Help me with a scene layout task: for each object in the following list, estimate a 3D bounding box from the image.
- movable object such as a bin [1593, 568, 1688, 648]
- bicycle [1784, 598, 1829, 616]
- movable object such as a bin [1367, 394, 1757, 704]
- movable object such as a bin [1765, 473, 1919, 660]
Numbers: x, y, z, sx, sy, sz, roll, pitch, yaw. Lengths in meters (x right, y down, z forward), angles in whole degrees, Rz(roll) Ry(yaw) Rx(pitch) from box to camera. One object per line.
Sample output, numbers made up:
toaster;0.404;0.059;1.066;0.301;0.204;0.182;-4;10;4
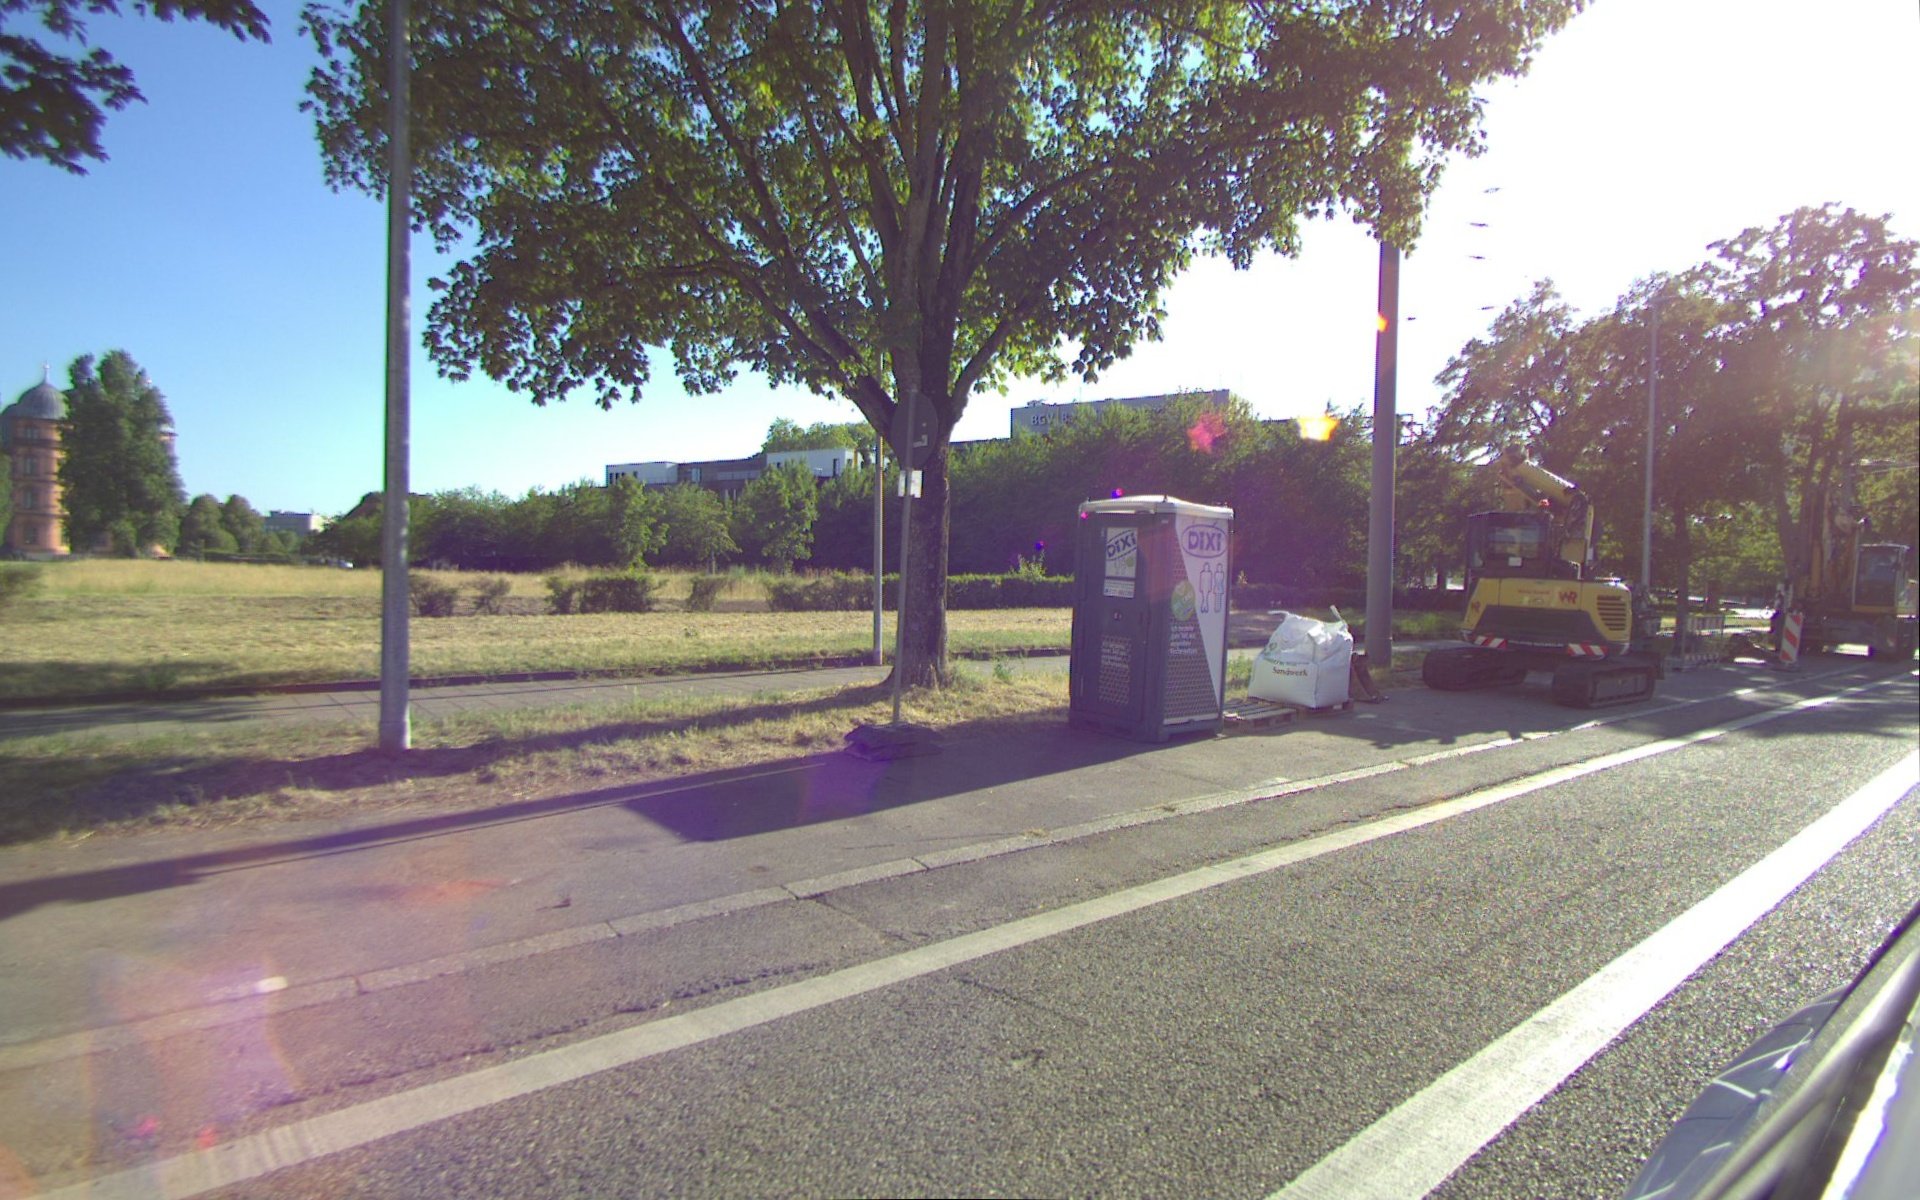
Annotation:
movable object such as a bin;16.028;0.166;23.845;1.278;1.687;1.323;0;7;-36
bicycle;48.912;0.413;58.497;0.707;0.991;2.065;0;0;-8
movable object such as a bin;10.301;-0.797;16.932;7.468;4.024;3.345;0;4;-42
movable object such as a bin;25.789;-0.955;28.906;7.468;4.665;2.920;0;4;-42
